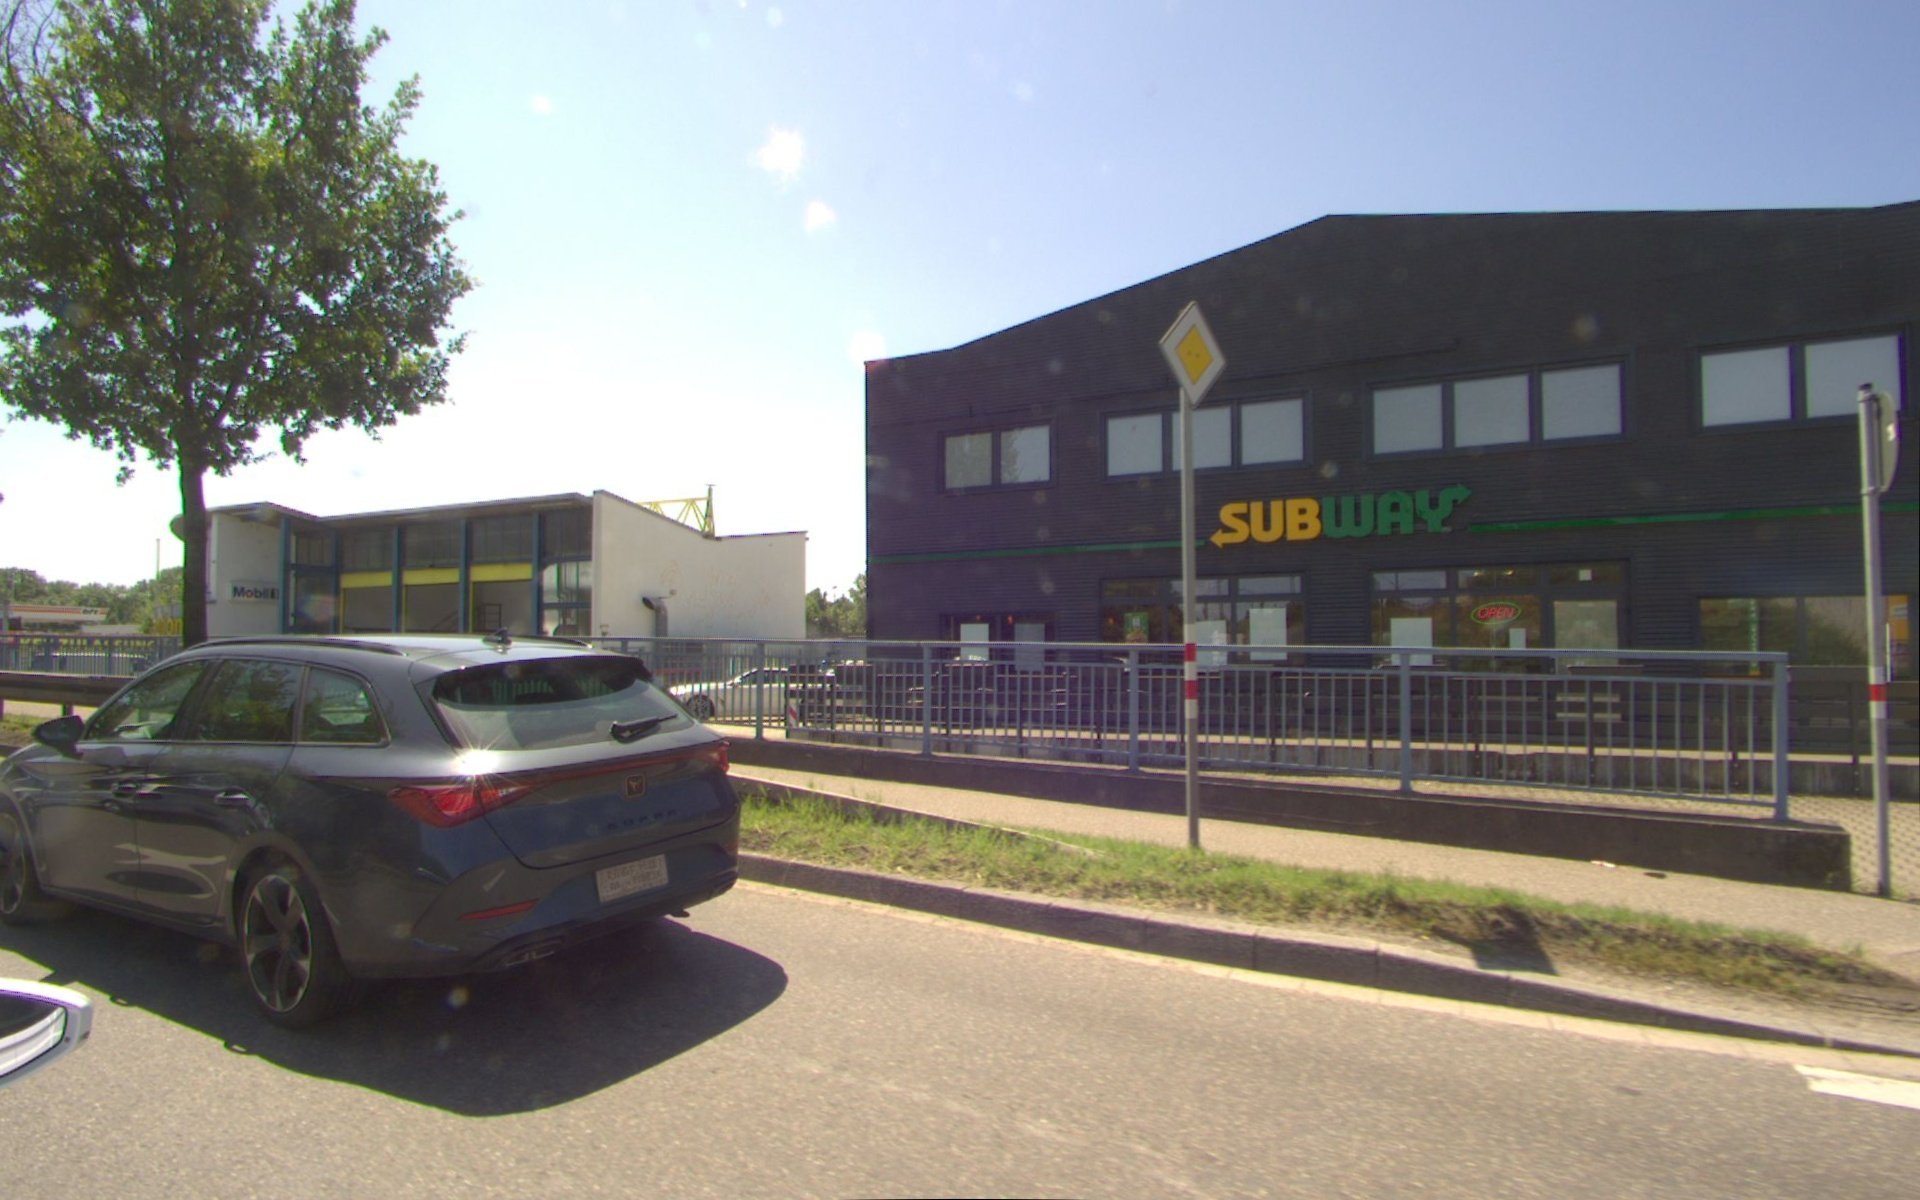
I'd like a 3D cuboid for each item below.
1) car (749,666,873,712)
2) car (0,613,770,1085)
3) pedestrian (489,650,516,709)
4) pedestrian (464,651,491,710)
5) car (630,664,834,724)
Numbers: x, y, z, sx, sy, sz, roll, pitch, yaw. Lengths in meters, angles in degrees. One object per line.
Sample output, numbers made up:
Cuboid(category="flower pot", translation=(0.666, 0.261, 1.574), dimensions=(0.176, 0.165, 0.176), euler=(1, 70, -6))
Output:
Cuboid(category="car", translation=(-4.548, 2.686, 30.484), dimensions=(3.550, 1.269, 1.477), euler=(1, -2, -17))
Cuboid(category="car", translation=(-3.053, 0.848, 4.895), dimensions=(4.172, 1.474, 1.603), euler=(-1, -2, 30))
Cuboid(category="pedestrian", translation=(-13.420, 2.321, 29.362), dimensions=(0.580, 1.724, 0.426), euler=(-1, -1, 25))
Cuboid(category="pedestrian", translation=(-14.255, 2.366, 29.581), dimensions=(0.480, 1.724, 0.521), euler=(-1, -1, 26))
Cuboid(category="car", translation=(-6.042, 2.437, 26.657), dimensions=(5.004, 1.375, 1.993), euler=(1, -2, -26))
